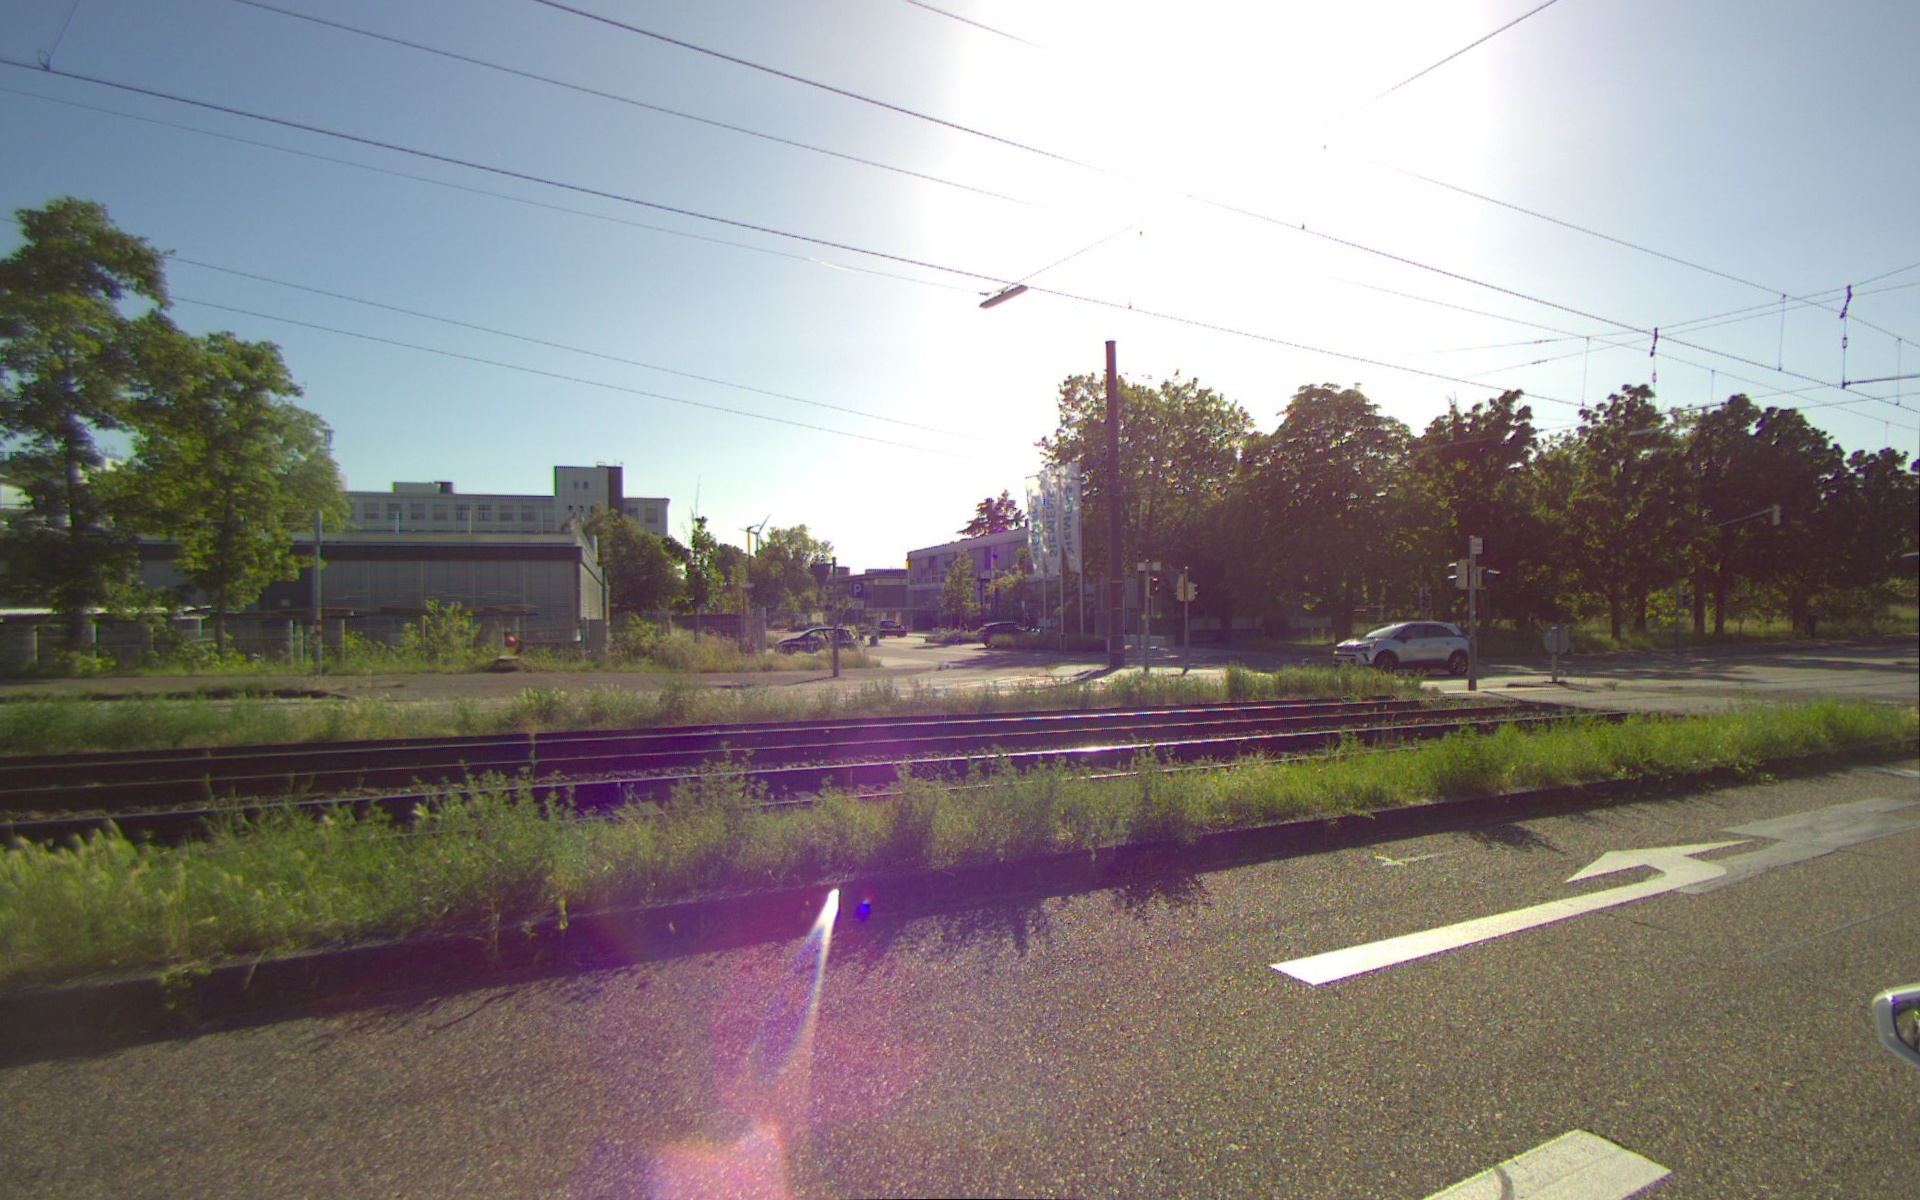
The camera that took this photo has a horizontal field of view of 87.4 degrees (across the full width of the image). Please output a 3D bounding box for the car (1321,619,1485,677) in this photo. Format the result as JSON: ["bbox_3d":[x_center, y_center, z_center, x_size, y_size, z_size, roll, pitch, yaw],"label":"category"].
[{"bbox_3d":[13.127,1.414,29.852,4.180,1.628,1.852,1,0,-12],"label":"car"}]

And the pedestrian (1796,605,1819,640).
[{"bbox_3d":[50.986,1.345,60.417,0.853,2.040,0.835,1,0,-32],"label":"pedestrian"}]

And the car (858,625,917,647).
[{"bbox_3d":[-5.160,2.551,71.767,3.893,1.471,1.688,1,0,-21],"label":"car"}]

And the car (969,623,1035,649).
[{"bbox_3d":[2.596,2.176,61.690,3.818,1.508,1.682,1,0,-32],"label":"car"}]

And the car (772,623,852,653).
[{"bbox_3d":[-7.621,1.944,51.680,3.806,1.453,1.687,1,0,-23],"label":"car"}]
